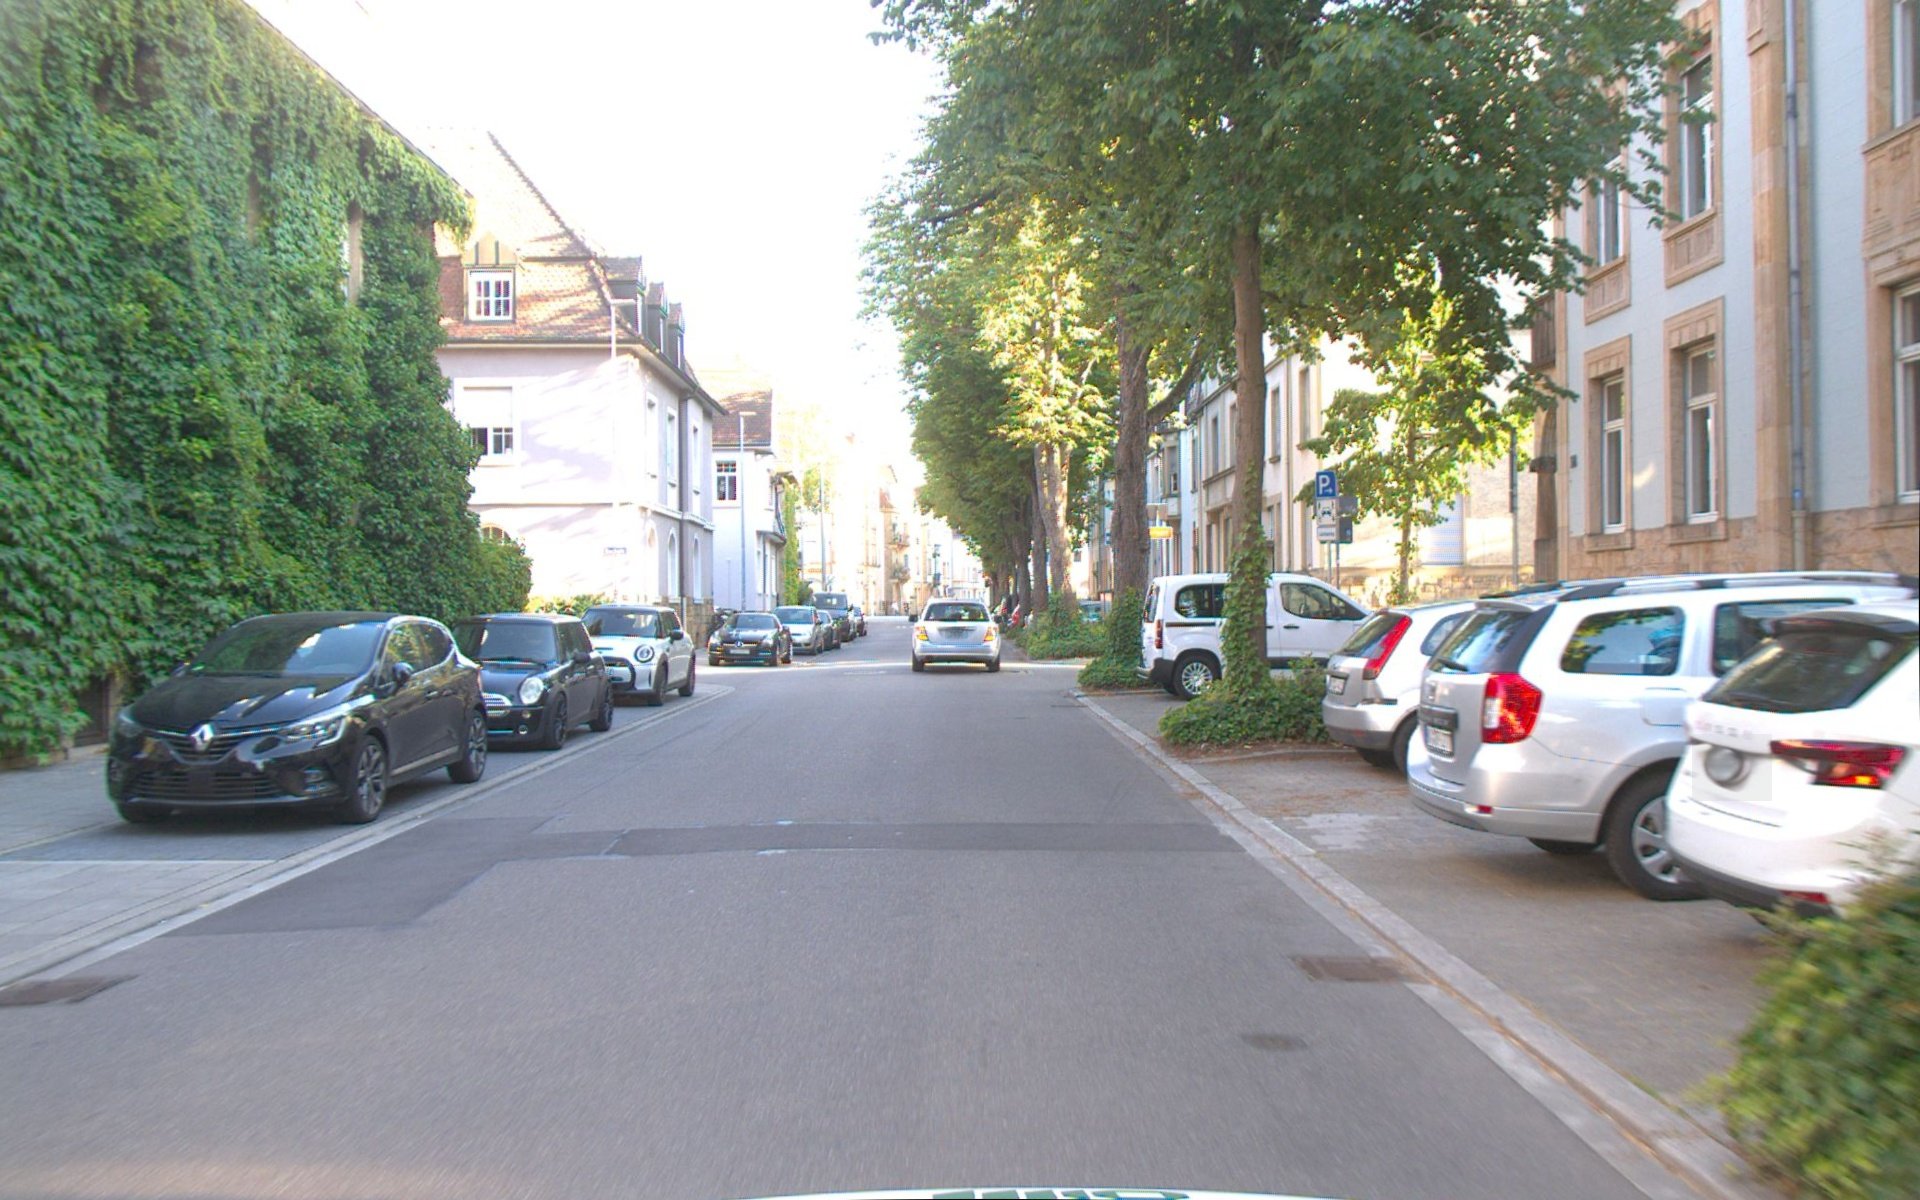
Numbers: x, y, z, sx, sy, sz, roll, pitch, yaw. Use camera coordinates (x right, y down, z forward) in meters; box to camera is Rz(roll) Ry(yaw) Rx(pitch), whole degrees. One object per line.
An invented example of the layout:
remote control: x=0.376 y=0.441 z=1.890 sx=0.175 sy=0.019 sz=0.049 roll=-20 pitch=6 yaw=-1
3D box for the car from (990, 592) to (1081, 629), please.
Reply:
car: x=4.217 y=0.595 z=93.291 sx=4.952 sy=2.024 sz=2.071 roll=0 pitch=0 yaw=-3

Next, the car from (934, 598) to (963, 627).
car: x=-0.625 y=0.678 z=92.904 sx=1.590 sy=1.597 sz=3.680 roll=0 pitch=0 yaw=0

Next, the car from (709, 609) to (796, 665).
car: x=-5.321 y=0.927 z=42.884 sx=1.619 sy=1.347 sz=4.046 roll=1 pitch=-1 yaw=2

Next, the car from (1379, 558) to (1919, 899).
car: x=4.484 y=0.584 z=8.790 sx=4.058 sy=1.561 sz=1.687 roll=-2 pitch=0 yaw=1

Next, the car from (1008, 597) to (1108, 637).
car: x=4.095 y=0.717 z=69.433 sx=4.103 sy=1.501 sz=1.852 roll=-3 pitch=-1 yaw=2

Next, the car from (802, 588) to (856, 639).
car: x=-5.357 y=0.532 z=68.168 sx=1.942 sy=1.982 sz=4.850 roll=1 pitch=0 yaw=-1

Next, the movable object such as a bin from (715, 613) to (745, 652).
movable object such as a bin: x=-7.893 y=1.111 z=56.814 sx=0.707 sy=1.306 sz=2.096 roll=0 pitch=0 yaw=0

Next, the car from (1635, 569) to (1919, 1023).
car: x=4.777 y=0.589 z=6.220 sx=3.771 sy=1.488 sz=1.688 roll=-2 pitch=0 yaw=4

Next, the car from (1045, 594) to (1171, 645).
car: x=4.677 y=0.610 z=52.458 sx=3.719 sy=1.463 sz=1.747 roll=-2 pitch=0 yaw=-5

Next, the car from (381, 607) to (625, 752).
car: x=-4.925 y=0.802 z=18.322 sx=1.652 sy=1.404 sz=3.720 roll=1 pitch=0 yaw=0

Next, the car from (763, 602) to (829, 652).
car: x=-5.081 y=0.825 z=51.543 sx=1.619 sy=1.471 sz=3.960 roll=1 pitch=0 yaw=0

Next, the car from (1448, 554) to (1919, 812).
car: x=5.830 y=0.499 z=11.599 sx=4.226 sy=1.561 sz=1.828 roll=-2 pitch=0 yaw=-1

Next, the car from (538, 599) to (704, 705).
car: x=-5.101 y=0.734 z=25.367 sx=1.669 sy=1.486 sz=3.918 roll=1 pitch=0 yaw=1

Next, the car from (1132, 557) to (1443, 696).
car: x=4.836 y=0.380 z=24.905 sx=4.226 sy=1.838 sz=2.000 roll=-2 pitch=0 yaw=-1

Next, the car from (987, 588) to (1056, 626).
car: x=3.933 y=0.432 z=106.131 sx=4.301 sy=2.405 sz=1.999 roll=0 pitch=0 yaw=-3

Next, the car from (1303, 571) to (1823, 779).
car: x=4.909 y=0.584 z=13.827 sx=3.672 sy=1.488 sz=1.734 roll=-2 pitch=0 yaw=-1

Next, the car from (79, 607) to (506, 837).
car: x=-4.868 y=0.797 z=12.723 sx=1.616 sy=1.445 sz=4.098 roll=1 pitch=0 yaw=0

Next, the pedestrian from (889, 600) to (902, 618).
pedestrian: x=-6.572 y=0.904 z=169.116 sx=1.195 sy=1.752 sz=1.504 roll=0 pitch=0 yaw=3

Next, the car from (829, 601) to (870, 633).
car: x=-5.263 y=0.803 z=79.037 sx=1.660 sy=1.472 sz=4.357 roll=1 pitch=0 yaw=0

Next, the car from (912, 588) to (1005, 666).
car: x=-0.024 y=0.543 z=33.410 sx=1.747 sy=1.462 sz=3.850 roll=0 pitch=-1 yaw=0

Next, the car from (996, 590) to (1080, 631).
car: x=4.037 y=0.552 z=86.029 sx=4.135 sy=1.929 sz=1.904 roll=-2 pitch=0 yaw=-3

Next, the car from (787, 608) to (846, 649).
car: x=-4.888 y=0.973 z=56.636 sx=1.499 sy=1.342 sz=4.227 roll=0 pitch=-1 yaw=2
